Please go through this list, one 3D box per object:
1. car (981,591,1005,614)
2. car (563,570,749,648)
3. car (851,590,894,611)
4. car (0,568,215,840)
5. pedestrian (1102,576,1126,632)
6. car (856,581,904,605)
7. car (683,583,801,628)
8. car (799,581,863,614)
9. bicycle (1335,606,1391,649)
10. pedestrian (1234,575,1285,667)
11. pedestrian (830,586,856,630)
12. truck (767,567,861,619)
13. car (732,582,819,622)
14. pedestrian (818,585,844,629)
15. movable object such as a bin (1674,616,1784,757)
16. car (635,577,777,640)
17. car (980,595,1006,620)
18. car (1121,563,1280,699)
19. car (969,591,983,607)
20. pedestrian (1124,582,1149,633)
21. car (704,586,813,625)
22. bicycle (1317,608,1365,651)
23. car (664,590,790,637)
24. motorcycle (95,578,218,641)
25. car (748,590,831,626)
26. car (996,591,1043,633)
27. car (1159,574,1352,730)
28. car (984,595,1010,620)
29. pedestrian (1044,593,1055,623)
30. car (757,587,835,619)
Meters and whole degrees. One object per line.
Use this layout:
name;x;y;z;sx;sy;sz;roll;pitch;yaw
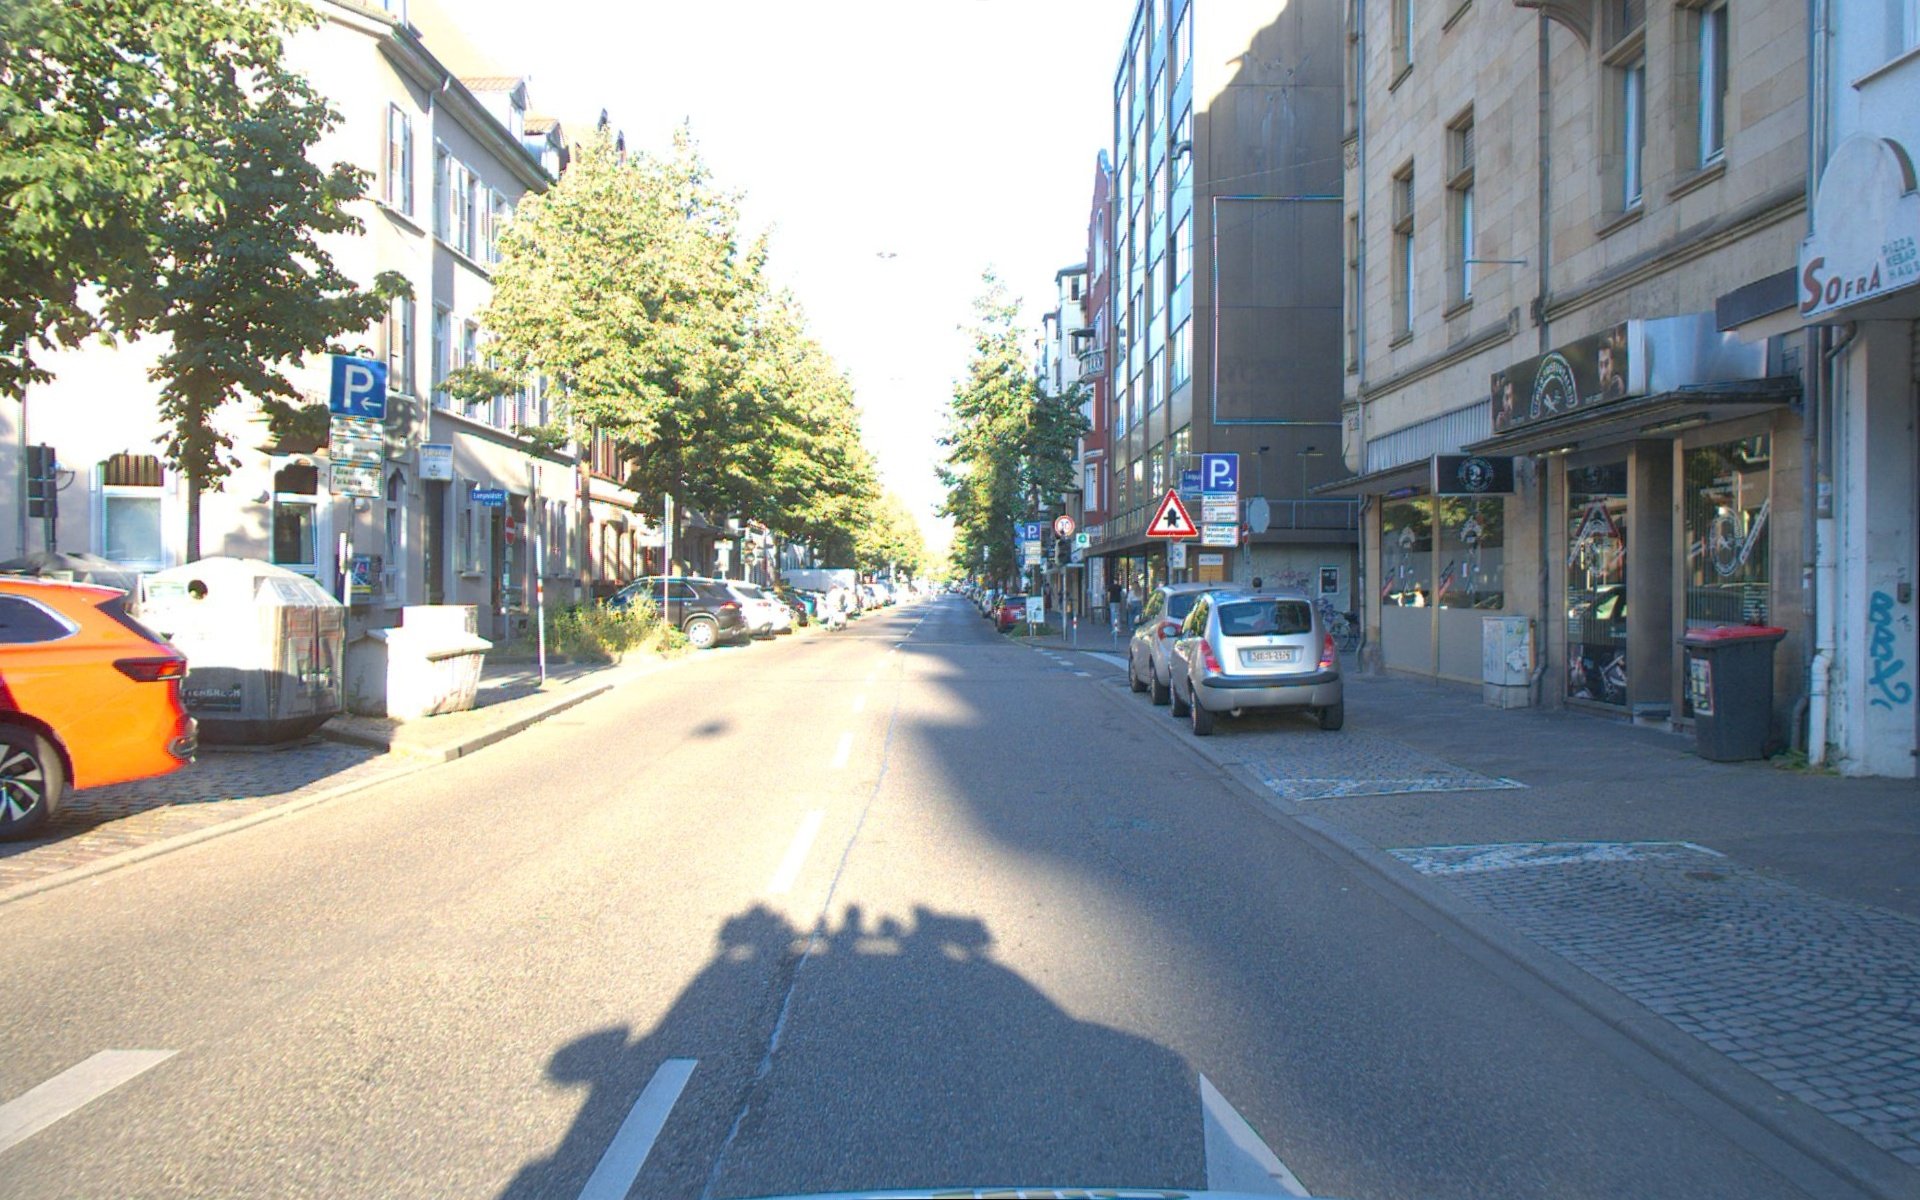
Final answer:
car;1.950;0.173;98.201;1.182;1.323;2.659;1;0;-3
car;-7.749;0.240;42.450;4.358;1.867;2.033;1;0;-1
car;-7.749;0.071;146.885;3.663;1.738;2.000;1;1;-1
car;-6.575;0.570;9.550;3.949;1.511;1.978;0;1;-32
pedestrian;5.317;0.130;57.101;0.700;1.898;0.679;1;1;-3
car;-6.233;-0.536;129.051;3.663;1.738;2.000;1;1;-1
car;-8.505;0.203;64.857;4.336;1.627;2.000;1;0;-1
car;-7.760;-0.126;99.464;3.663;1.891;2.000;1;0;-1
bicycle;10.591;0.707;43.529;0.409;1.056;1.760;0;1;-26
pedestrian;5.966;0.403;32.990;0.739;1.798;1.222;1;1;-1
pedestrian;-4.696;0.323;66.302;0.717;1.712;0.746;1;1;-40
truck;-7.821;-0.382;88.793;4.840;2.660;2.000;1;0;-1
car;-8.307;0.088;74.625;3.663;1.671;2.000;1;0;-1
pedestrian;-5.074;0.281;65.081;0.710;1.702;0.700;1;1;-40
movable object such as a bin;6.328;0.701;13.637;0.583;1.103;0.664;1;1;1
car;-7.507;0.234;49.173;3.908;1.738;1.833;1;1;-1
car;1.799;0.394;90.647;1.182;1.323;2.659;1;0;-3
car;3.394;0.382;23.956;1.662;1.800;3.999;0;1;-1
car;1.601;-0.108;169.838;1.283;1.628;2.659;1;0;-3
pedestrian;6.102;0.250;57.190;0.750;1.718;0.786;1;1;-3
car;-8.462;0.219;69.800;4.336;1.529;2.000;1;0;-1
bicycle;9.796;0.752;42.587;0.408;1.048;1.682;0;1;-18
car;-8.043;0.456;57.415;4.090;1.533;2.000;1;0;-1
motorcycle;-14.236;0.157;29.303;2.049;1.049;0.747;1;1;21
car;-7.966;0.384;77.406;3.663;1.624;1.999;0;-2;-1
car;2.335;0.476;66.051;1.545;1.569;3.395;-2;0;-3
car;3.342;0.516;19.372;1.645;1.588;4.001;-1;1;2
car;1.963;0.404;87.819;1.182;1.323;2.659;1;0;-3
pedestrian;4.942;0.434;91.146;0.523;1.650;0.534;1;1;0
car;-8.147;0.139;82.423;3.663;1.475;2.000;1;0;-1
